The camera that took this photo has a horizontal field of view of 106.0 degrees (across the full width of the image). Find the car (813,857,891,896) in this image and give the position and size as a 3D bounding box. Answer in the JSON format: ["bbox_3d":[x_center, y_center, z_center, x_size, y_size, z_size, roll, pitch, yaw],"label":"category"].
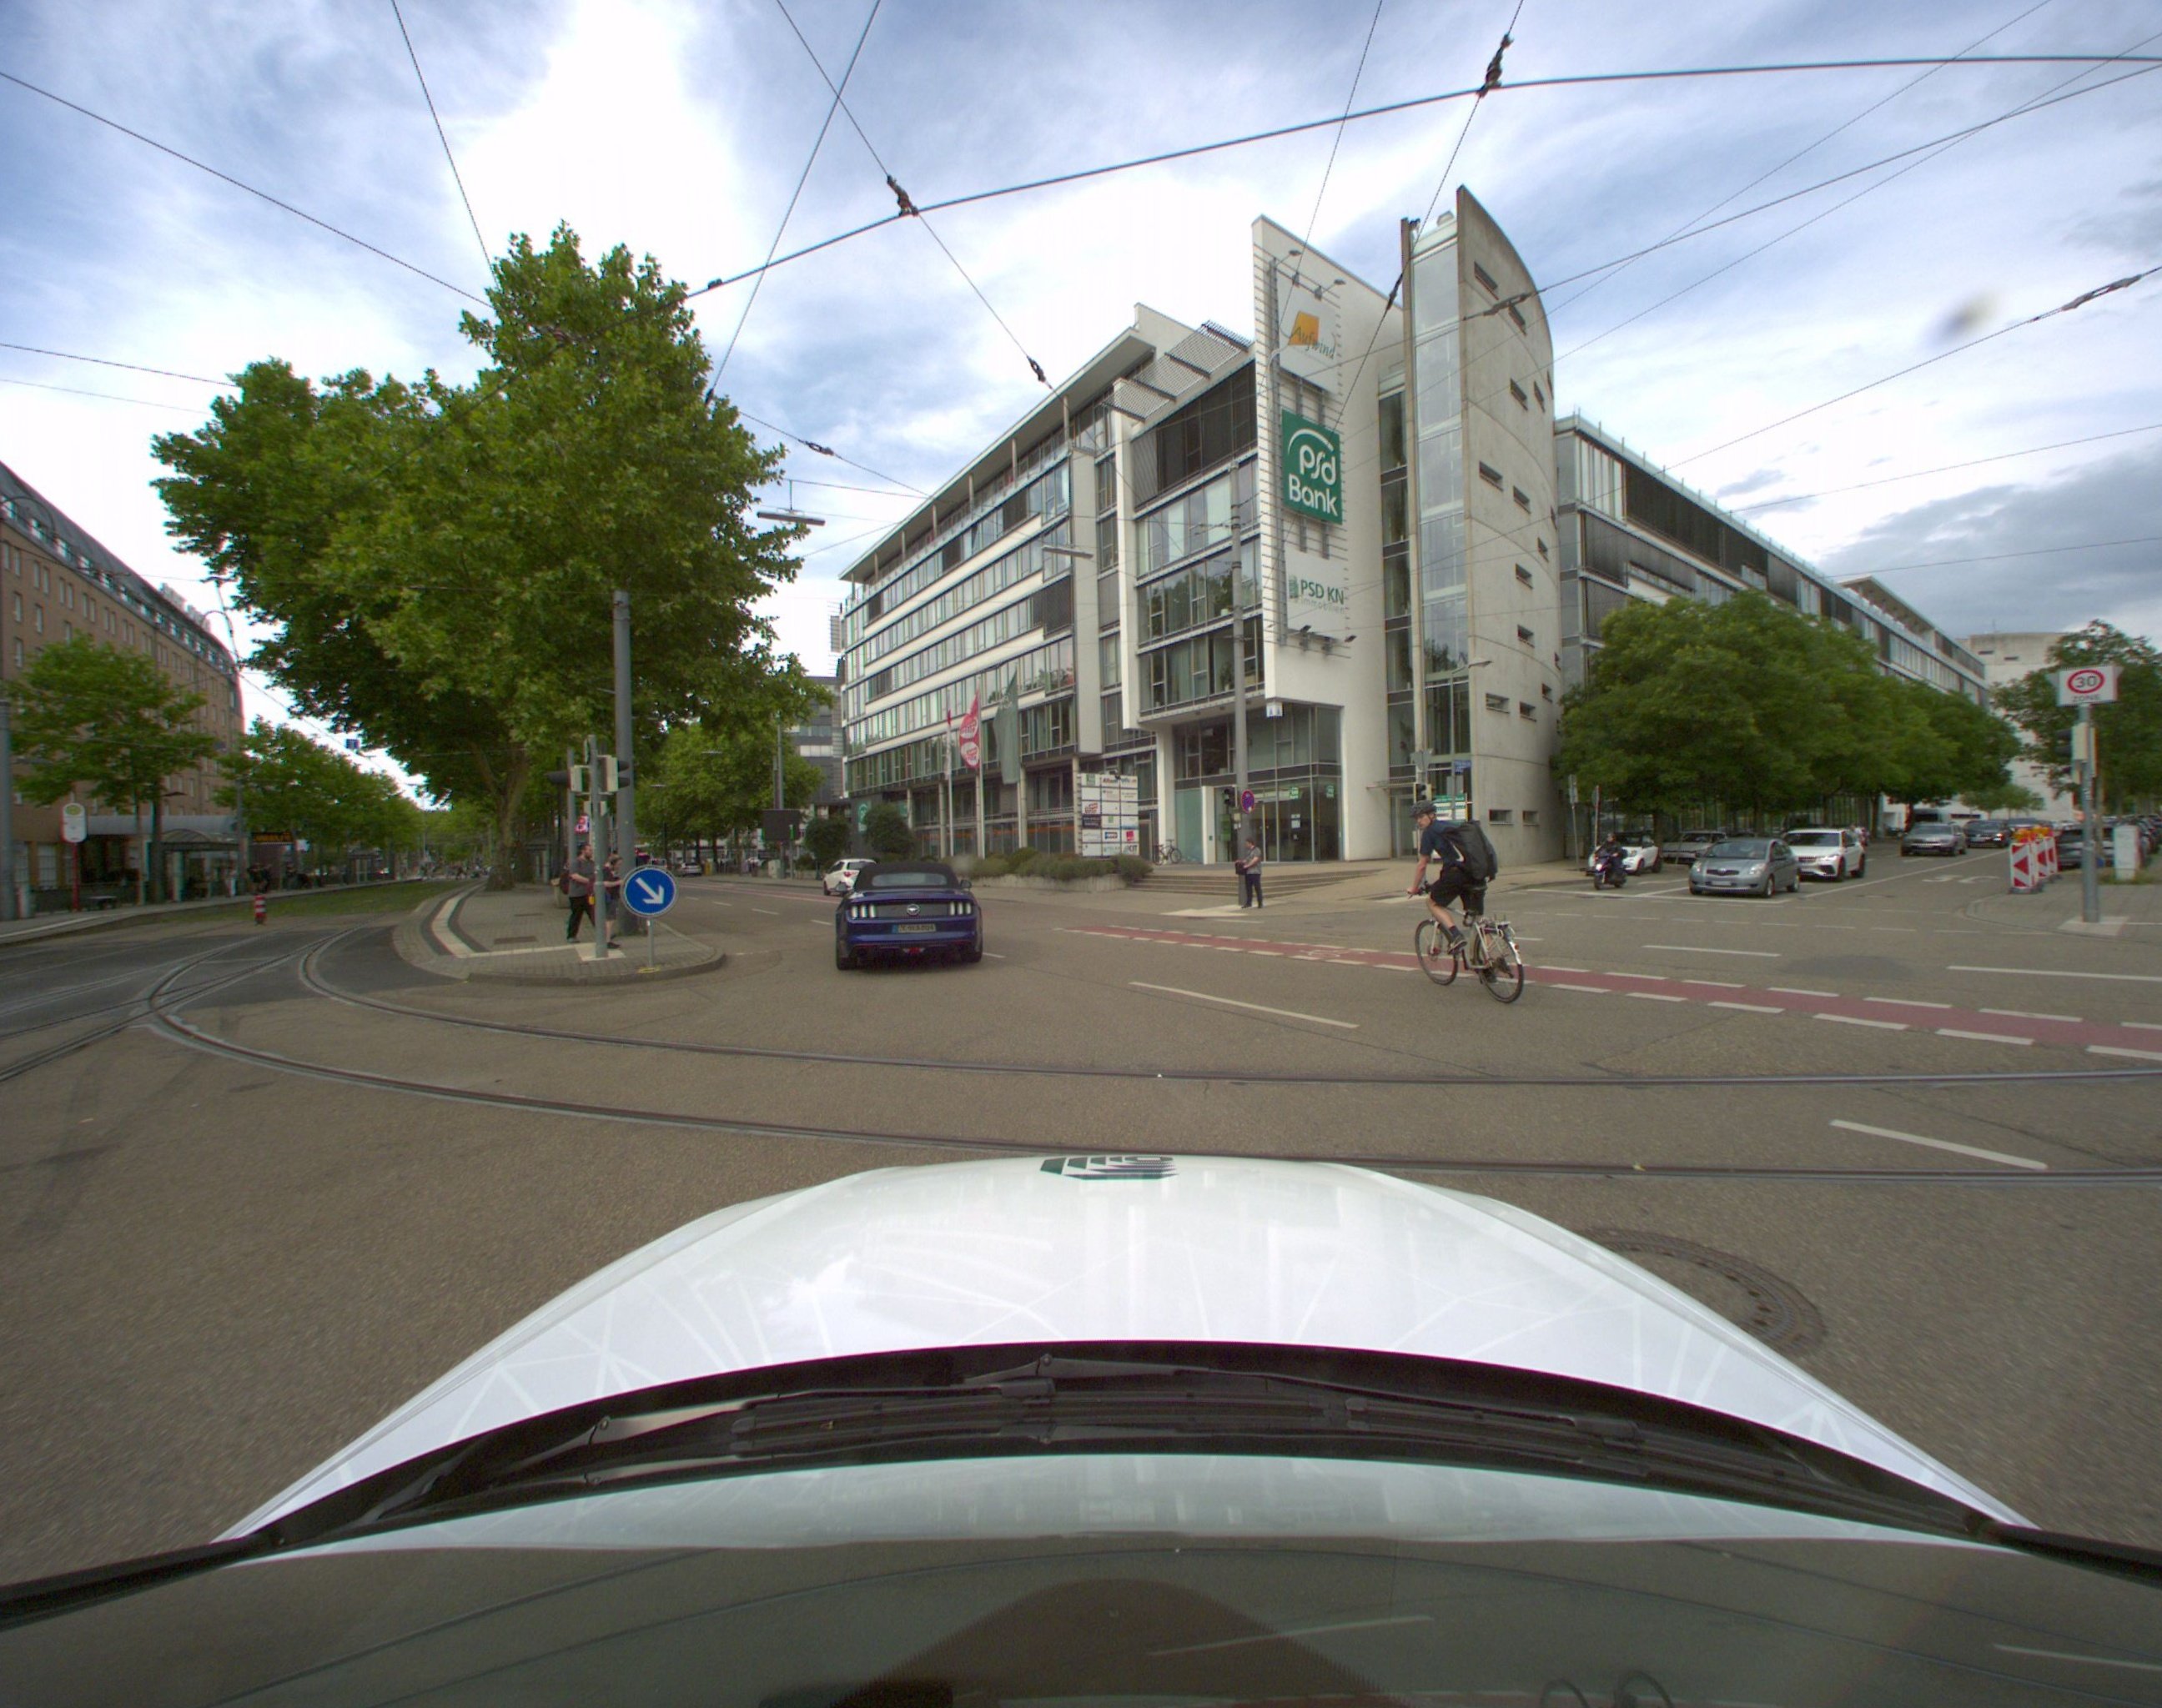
[{"bbox_3d":[-9.373,0.867,33.114,1.848,1.439,4.143,-2,1,-34],"label":"car"}]

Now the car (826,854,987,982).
[{"bbox_3d":[-2.493,0.760,11.986,1.877,1.404,4.267,-2,1,-11],"label":"car"}]

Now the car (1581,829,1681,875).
[{"bbox_3d":[20.692,-0.132,30.584,4.236,1.556,1.815,-2,3,-37],"label":"car"}]

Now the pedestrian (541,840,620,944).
[{"bbox_3d":[-9.278,0.683,15.118,0.835,1.855,0.845,-2,0,21],"label":"pedestrian"}]

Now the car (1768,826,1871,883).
[{"bbox_3d":[23.834,-0.064,26.246,4.152,1.659,1.701,-2,3,-37],"label":"car"}]

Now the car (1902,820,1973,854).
[{"bbox_3d":[41.794,-0.865,39.720,4.201,1.585,1.888,-2,3,-37],"label":"car"}]

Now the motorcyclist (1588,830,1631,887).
[{"bbox_3d":[15.463,0.124,23.823,0.886,1.616,0.813,-2,2,-37],"label":"motorcyclist"}]

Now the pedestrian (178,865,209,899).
[{"bbox_3d":[-40.803,1.278,37.451,0.821,1.536,0.776,-2,0,-38],"label":"pedestrian"}]

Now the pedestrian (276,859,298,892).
[{"bbox_3d":[-49.630,1.321,50.897,0.821,1.993,0.776,-2,0,-38],"label":"pedestrian"}]

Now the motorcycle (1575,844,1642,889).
[{"bbox_3d":[15.453,0.343,23.827,2.514,1.199,0.819,-2,2,-37],"label":"motorcycle"}]

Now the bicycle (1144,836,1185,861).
[{"bbox_3d":[3.967,-0.279,38.447,2.125,1.177,0.580,-1,2,-39],"label":"bicycle"}]

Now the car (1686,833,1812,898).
[{"bbox_3d":[17.943,0.235,21.825,4.254,1.506,1.655,-2,3,-37],"label":"car"}]

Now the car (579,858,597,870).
[{"bbox_3d":[-63.957,1.301,105.663,1.848,1.547,4.170,-2,1,-34],"label":"car"}]

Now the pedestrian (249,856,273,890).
[{"bbox_3d":[-46.381,1.082,46.064,0.821,1.887,0.776,-2,0,-38],"label":"pedestrian"}]

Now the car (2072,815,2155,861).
[{"bbox_3d":[38.383,-0.613,30.360,4.101,1.605,1.690,-2,1,-41],"label":"car"}]

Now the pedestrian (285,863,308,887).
[{"bbox_3d":[-52.988,1.416,54.997,1.002,1.600,0.841,-2,0,-38],"label":"pedestrian"}]

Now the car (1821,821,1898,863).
[{"bbox_3d":[33.024,-0.542,34.535,4.152,1.659,1.701,-2,3,-37],"label":"car"}]

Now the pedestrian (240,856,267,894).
[{"bbox_3d":[-41.828,1.052,41.193,0.821,1.887,0.776,-2,0,-38],"label":"pedestrian"}]

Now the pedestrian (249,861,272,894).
[{"bbox_3d":[-48.238,1.394,47.869,0.821,1.887,0.776,-2,0,-38],"label":"pedestrian"}]

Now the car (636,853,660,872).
[{"bbox_3d":[-47.688,0.930,89.626,1.904,1.903,4.086,-2,1,-34],"label":"car"}]

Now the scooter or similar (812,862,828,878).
[{"bbox_3d":[-16.777,1.033,52.259,0.591,0.950,1.842,-2,1,-30],"label":"scooter or similar"}]

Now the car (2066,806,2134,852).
[{"bbox_3d":[47.449,-1.175,37.985,4.143,1.987,1.770,-2,1,-41],"label":"car"}]

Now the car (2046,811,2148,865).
[{"bbox_3d":[32.695,-0.532,26.315,4.109,1.628,1.863,-2,1,-41],"label":"car"}]

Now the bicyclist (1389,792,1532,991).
[{"bbox_3d":[3.692,0.334,8.043,0.793,1.785,1.233,-2,0,-1],"label":"bicyclist"}]

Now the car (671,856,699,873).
[{"bbox_3d":[-40.340,1.057,82.870,1.894,1.582,4.278,-1,1,-35],"label":"car"}]

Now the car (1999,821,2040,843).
[{"bbox_3d":[71.630,-1.679,62.151,4.161,1.585,1.776,-2,3,-37],"label":"car"}]

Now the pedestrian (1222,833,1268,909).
[{"bbox_3d":[4.207,0.423,20.887,0.768,1.865,0.829,-2,0,-28],"label":"pedestrian"}]

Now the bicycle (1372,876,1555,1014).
[{"bbox_3d":[3.695,0.821,8.124,0.798,1.086,2.131,-2,1,0],"label":"bicycle"}]

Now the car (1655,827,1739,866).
[{"bbox_3d":[26.524,-0.366,35.036,4.236,1.556,1.815,-2,3,-37],"label":"car"}]

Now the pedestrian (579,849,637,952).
[{"bbox_3d":[-8.058,0.762,13.900,0.768,1.671,0.929,-2,0,-28],"label":"pedestrian"}]

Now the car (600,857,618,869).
[{"bbox_3d":[-65.334,1.285,112.608,1.848,1.521,4.131,-2,1,-34],"label":"car"}]

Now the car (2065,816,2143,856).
[{"bbox_3d":[43.441,-0.784,34.676,4.235,1.605,1.852,-2,1,-41],"label":"car"}]

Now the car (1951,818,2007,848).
[{"bbox_3d":[51.228,-1.235,46.455,4.161,1.585,1.776,-2,3,-37],"label":"car"}]

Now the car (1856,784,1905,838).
[{"bbox_3d":[56.458,-3.023,57.487,4.536,3.636,1.970,-2,3,-40],"label":"car"}]
